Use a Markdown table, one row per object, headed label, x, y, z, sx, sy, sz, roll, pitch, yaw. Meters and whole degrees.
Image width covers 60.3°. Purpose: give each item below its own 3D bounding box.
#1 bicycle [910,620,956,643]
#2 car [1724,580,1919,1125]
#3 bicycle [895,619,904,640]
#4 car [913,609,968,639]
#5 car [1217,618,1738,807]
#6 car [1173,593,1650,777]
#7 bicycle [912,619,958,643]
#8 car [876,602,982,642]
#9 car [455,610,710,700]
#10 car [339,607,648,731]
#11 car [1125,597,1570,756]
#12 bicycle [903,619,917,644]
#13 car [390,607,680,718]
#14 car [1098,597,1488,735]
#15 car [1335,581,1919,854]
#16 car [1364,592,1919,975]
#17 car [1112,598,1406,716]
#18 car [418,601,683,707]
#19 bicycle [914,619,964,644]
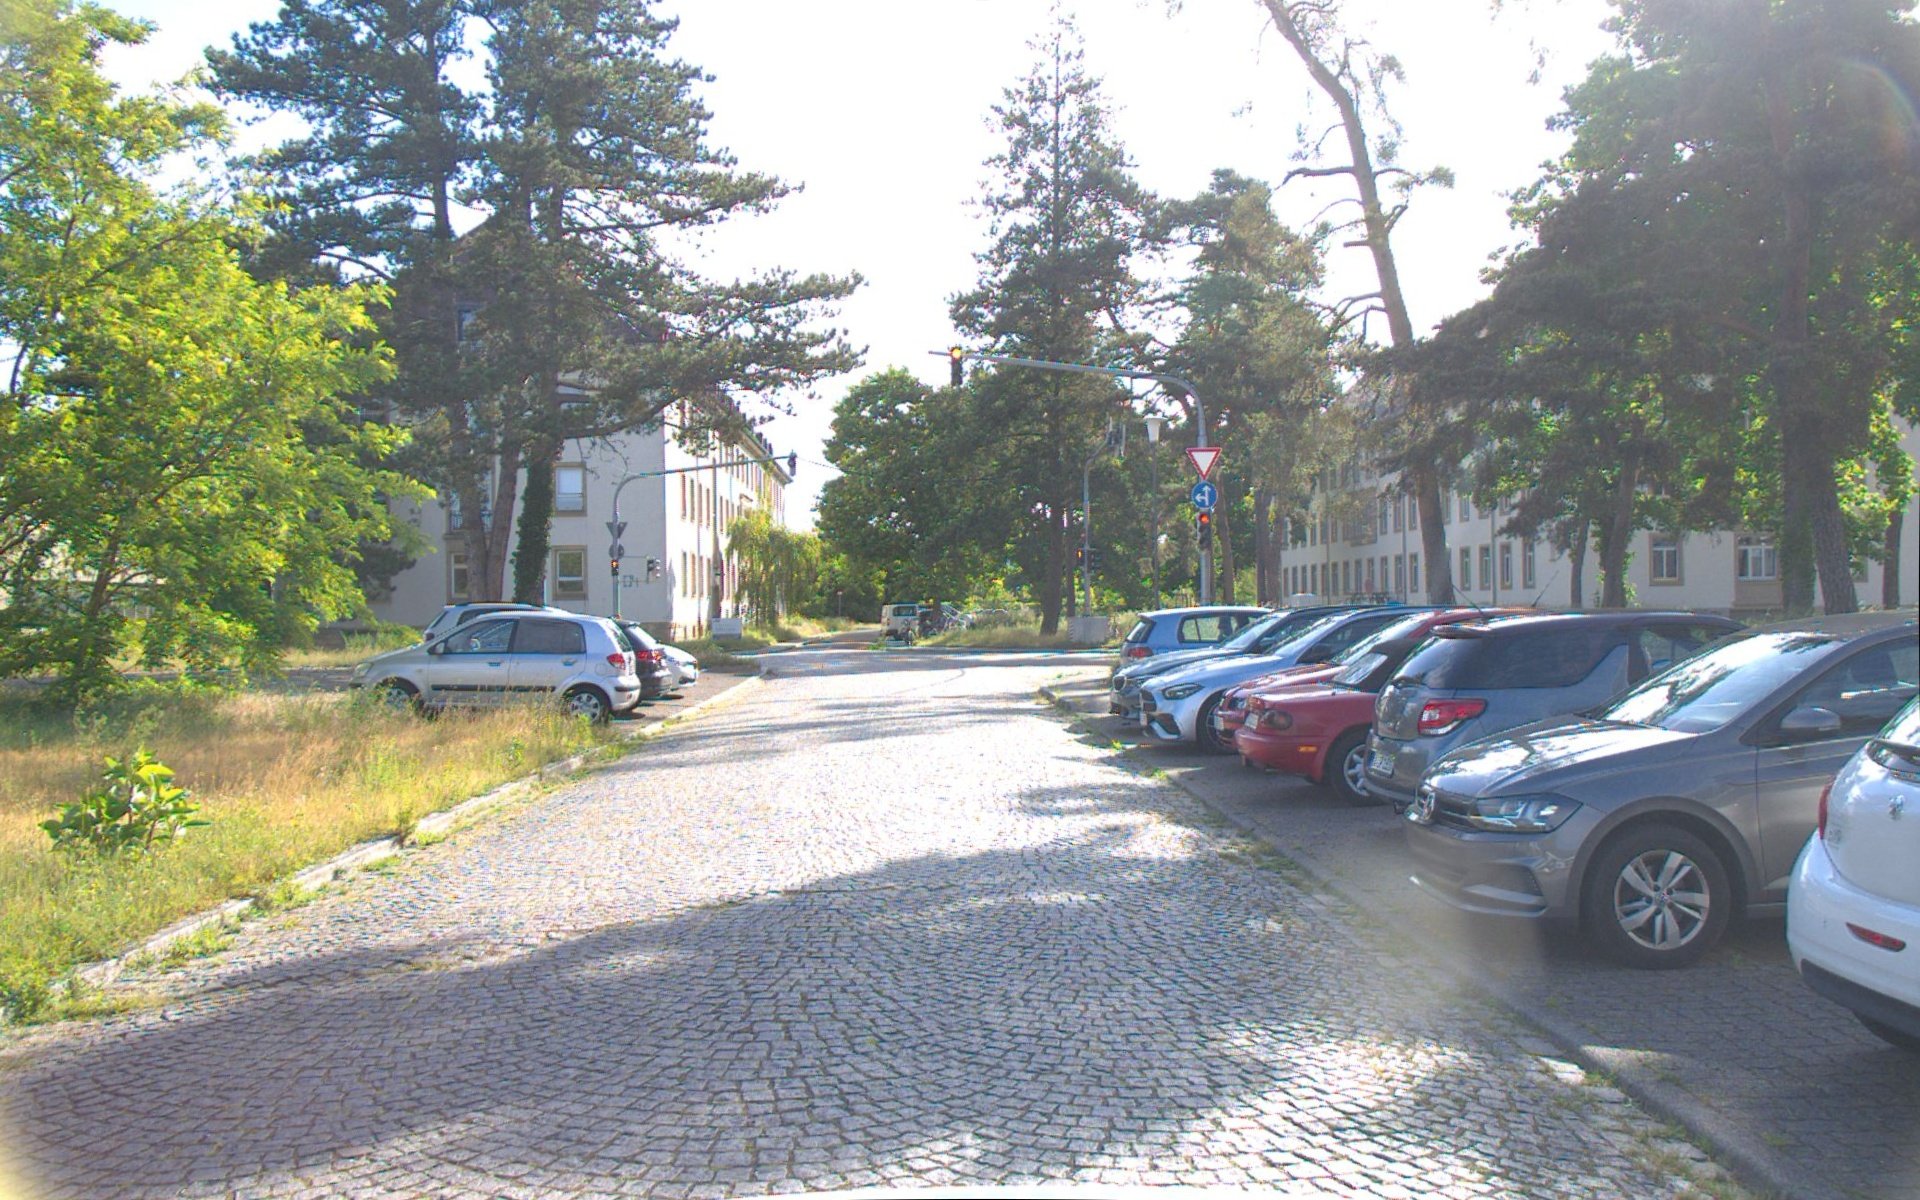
| label | x | y | z | sx | sy | sz | roll | pitch | yaw |
| --- | --- | --- | --- | --- | --- | --- | --- | --- | --- |
| bicycle | -1.233 | 1.417 | 74.681 | 1.991 | 1.028 | 0.626 | 1 | -1 | -10 |
| car | 4.563 | 0.662 | 5.023 | 3.632 | 1.561 | 1.760 | -3 | 0 | -1 |
| bicycle | -2.991 | 1.467 | 81.682 | 0.409 | 1.028 | 1.483 | 1 | -1 | -1 |
| car | -1.040 | 1.278 | 86.572 | 2.728 | 1.492 | 1.669 | 1 | -1 | -6 |
| car | 4.063 | 0.858 | 13.407 | 3.632 | 1.244 | 1.746 | -3 | 0 | -1 |
| car | 4.188 | 0.763 | 15.758 | 4.044 | 1.474 | 1.636 | -3 | 0 | -1 |
| bicycle | -1.133 | 1.403 | 73.802 | 1.968 | 1.028 | 0.630 | 1 | -1 | -10 |
| car | -1.683 | 1.222 | 90.142 | 5.440 | 2.049 | 1.988 | 2 | -1 | -20 |
| car | -6.752 | 0.980 | 29.955 | 4.249 | 1.494 | 1.829 | 1 | 0 | -5 |
| car | -6.135 | 0.899 | 22.077 | 3.673 | 1.513 | 1.644 | 1 | 0 | -5 |
| car | 4.081 | 0.783 | 17.891 | 4.342 | 1.440 | 1.780 | -3 | 0 | -1 |
| bicycle | -2.088 | 1.293 | 68.495 | 0.458 | 1.028 | 1.584 | 1 | -1 | -5 |
| car | -6.246 | 0.910 | 24.680 | 3.909 | 1.506 | 1.801 | 1 | 0 | -5 |
| car | 4.058 | 0.786 | 20.607 | 4.467 | 1.440 | 1.636 | -3 | 0 | -1 |
| car | 4.508 | 0.696 | 10.821 | 3.633 | 1.474 | 1.816 | -3 | 0 | -2 |
| car | 4.003 | 0.749 | 7.894 | 3.632 | 1.474 | 1.856 | -3 | 0 | -1 |
| car | 4.164 | 0.771 | 23.391 | 3.804 | 1.440 | 1.636 | -3 | 0 | -1 |
| car | -6.763 | 0.881 | 27.666 | 4.000 | 1.621 | 1.883 | 1 | 0 | -5 |
| bicycle | -0.922 | 1.378 | 72.125 | 2.070 | 1.028 | 0.619 | 1 | -1 | -10 |
